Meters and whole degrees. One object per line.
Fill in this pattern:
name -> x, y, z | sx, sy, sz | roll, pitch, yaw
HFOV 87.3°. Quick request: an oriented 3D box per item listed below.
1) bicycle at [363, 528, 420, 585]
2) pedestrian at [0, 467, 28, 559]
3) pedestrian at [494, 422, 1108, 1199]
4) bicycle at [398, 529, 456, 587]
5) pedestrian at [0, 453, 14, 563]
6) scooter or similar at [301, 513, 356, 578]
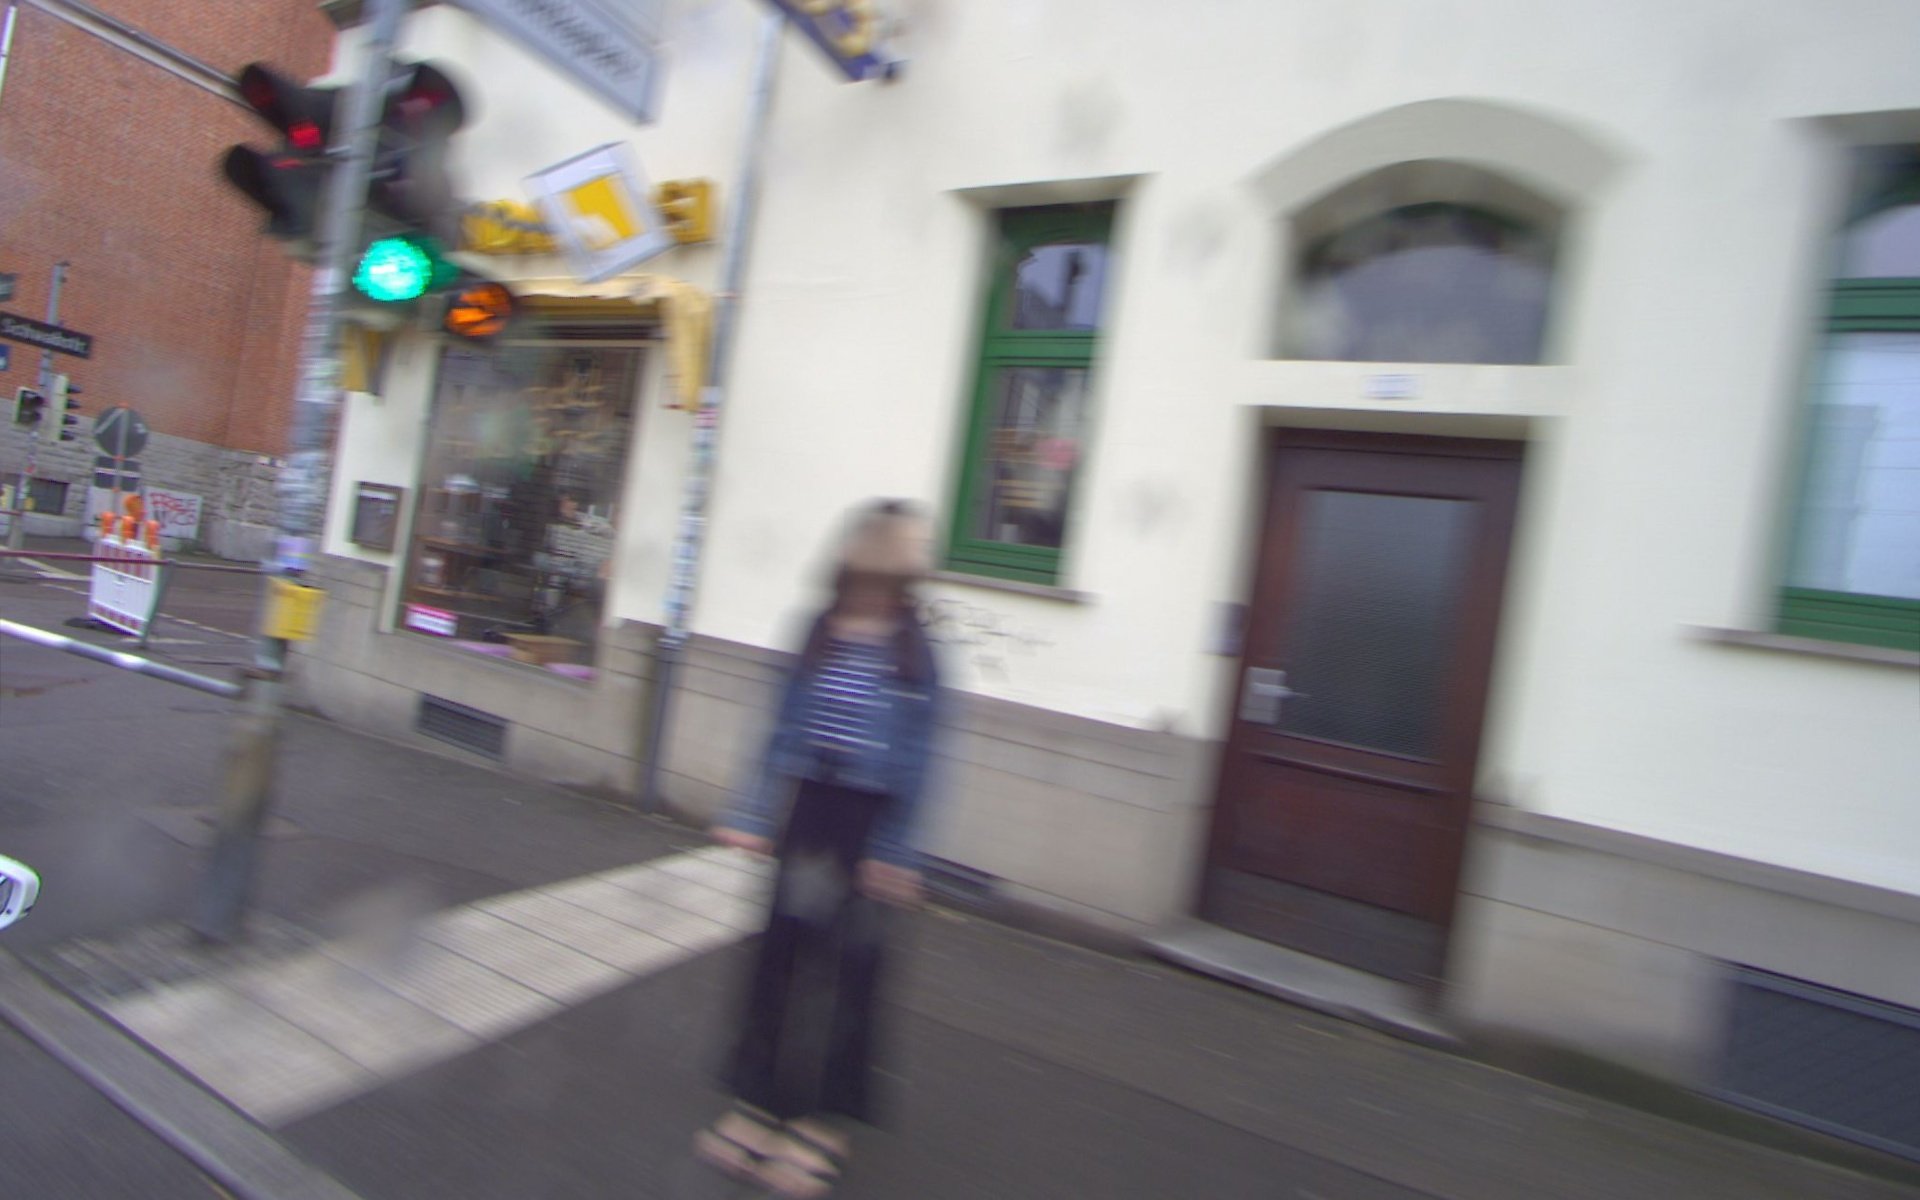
bicycle -> -15.172, -1.158, 26.817 | 1.638, 1.218, 0.413 | 12, 5, 28
pedestrian -> -18.037, -1.664, 18.481 | 1.055, 1.645, 0.959 | 7, 0, 30
pedestrian -> -0.344, 0.535, 2.493 | 0.915, 1.743, 1.017 | 7, 2, 31
bicycle -> -14.701, -1.167, 27.708 | 1.809, 1.261, 0.343 | 14, 6, 28
pedestrian -> -17.531, -1.700, 17.640 | 1.055, 1.911, 0.959 | 7, 1, 30
scooter or similar -> -16.015, -1.390, 25.498 | 1.492, 1.436, 0.409 | 10, 1, 31
